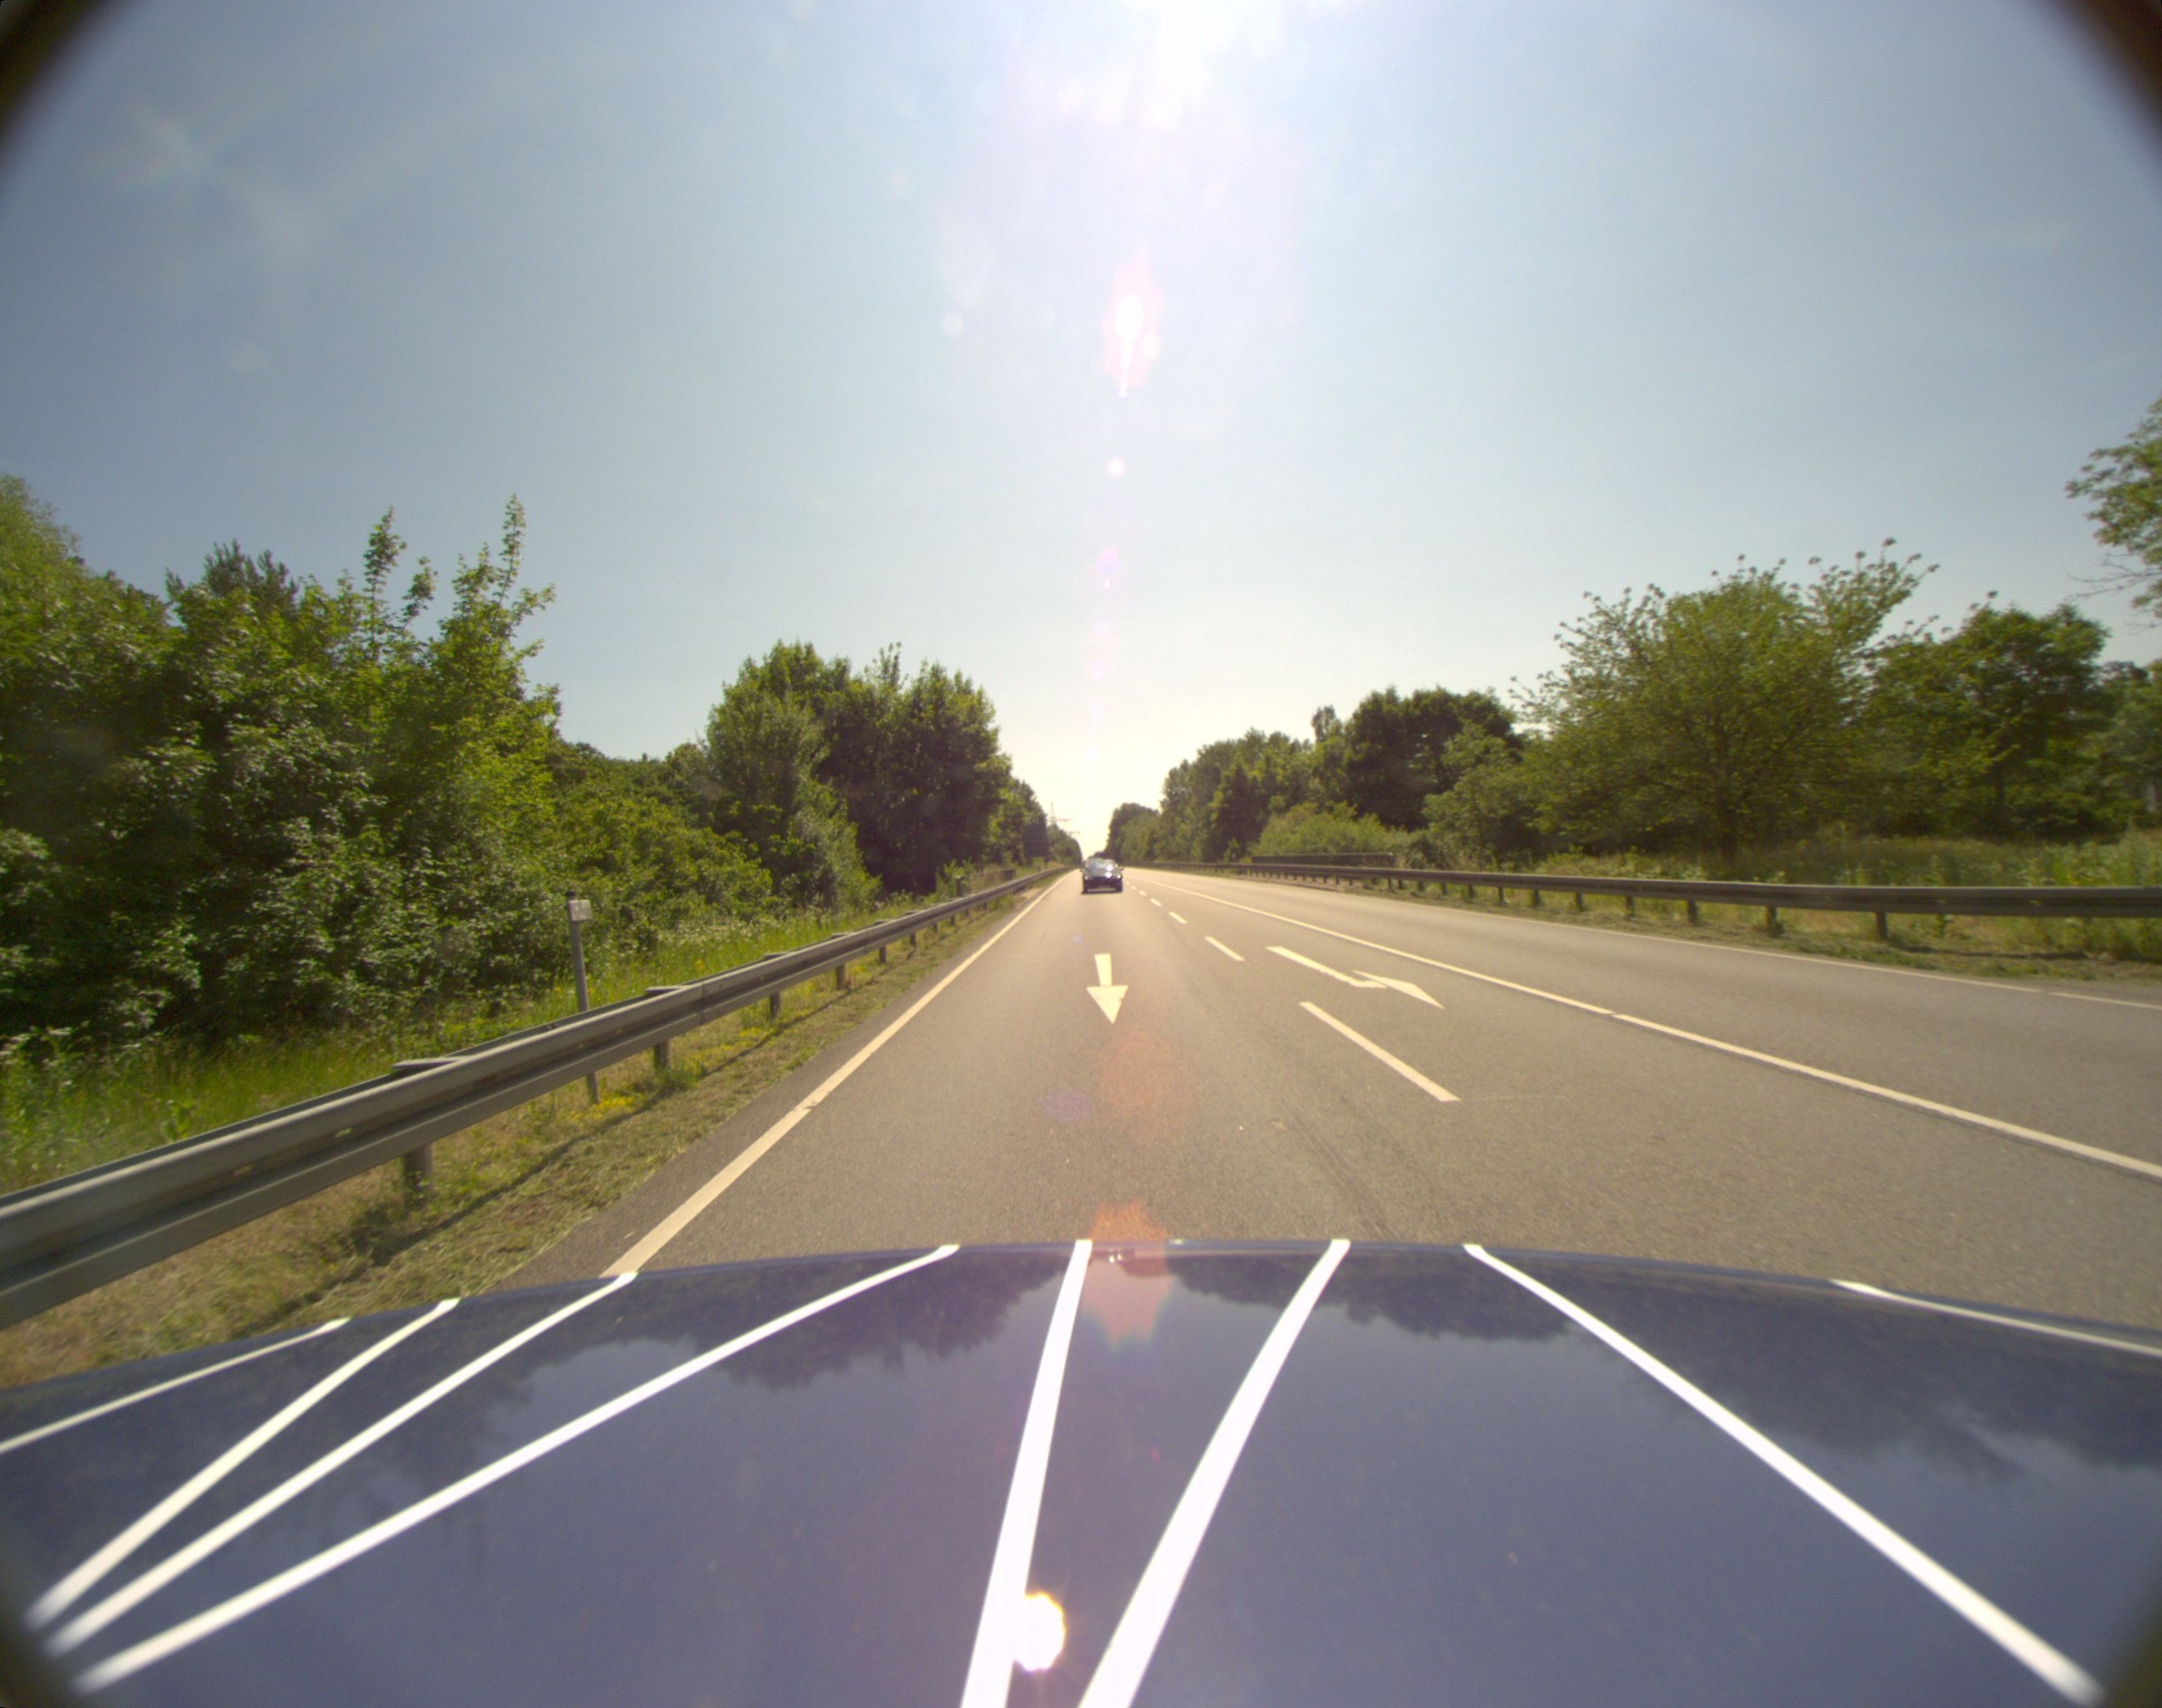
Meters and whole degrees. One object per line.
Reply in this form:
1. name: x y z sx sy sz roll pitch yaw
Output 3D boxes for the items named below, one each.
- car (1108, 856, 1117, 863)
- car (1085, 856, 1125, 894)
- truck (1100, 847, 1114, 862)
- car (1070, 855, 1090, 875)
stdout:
1. car: 7.219 1.184 173.451 1.823 1.537 4.526 -2 0 -1
2. car: 0.998 0.852 32.310 1.529 1.387 3.443 -3 0 1
3. truck: 6.708 0.046 197.603 3.200 3.678 9.007 -3 0 0
4. car: -0.078 0.853 60.134 1.443 1.443 3.298 -2 0 -1
